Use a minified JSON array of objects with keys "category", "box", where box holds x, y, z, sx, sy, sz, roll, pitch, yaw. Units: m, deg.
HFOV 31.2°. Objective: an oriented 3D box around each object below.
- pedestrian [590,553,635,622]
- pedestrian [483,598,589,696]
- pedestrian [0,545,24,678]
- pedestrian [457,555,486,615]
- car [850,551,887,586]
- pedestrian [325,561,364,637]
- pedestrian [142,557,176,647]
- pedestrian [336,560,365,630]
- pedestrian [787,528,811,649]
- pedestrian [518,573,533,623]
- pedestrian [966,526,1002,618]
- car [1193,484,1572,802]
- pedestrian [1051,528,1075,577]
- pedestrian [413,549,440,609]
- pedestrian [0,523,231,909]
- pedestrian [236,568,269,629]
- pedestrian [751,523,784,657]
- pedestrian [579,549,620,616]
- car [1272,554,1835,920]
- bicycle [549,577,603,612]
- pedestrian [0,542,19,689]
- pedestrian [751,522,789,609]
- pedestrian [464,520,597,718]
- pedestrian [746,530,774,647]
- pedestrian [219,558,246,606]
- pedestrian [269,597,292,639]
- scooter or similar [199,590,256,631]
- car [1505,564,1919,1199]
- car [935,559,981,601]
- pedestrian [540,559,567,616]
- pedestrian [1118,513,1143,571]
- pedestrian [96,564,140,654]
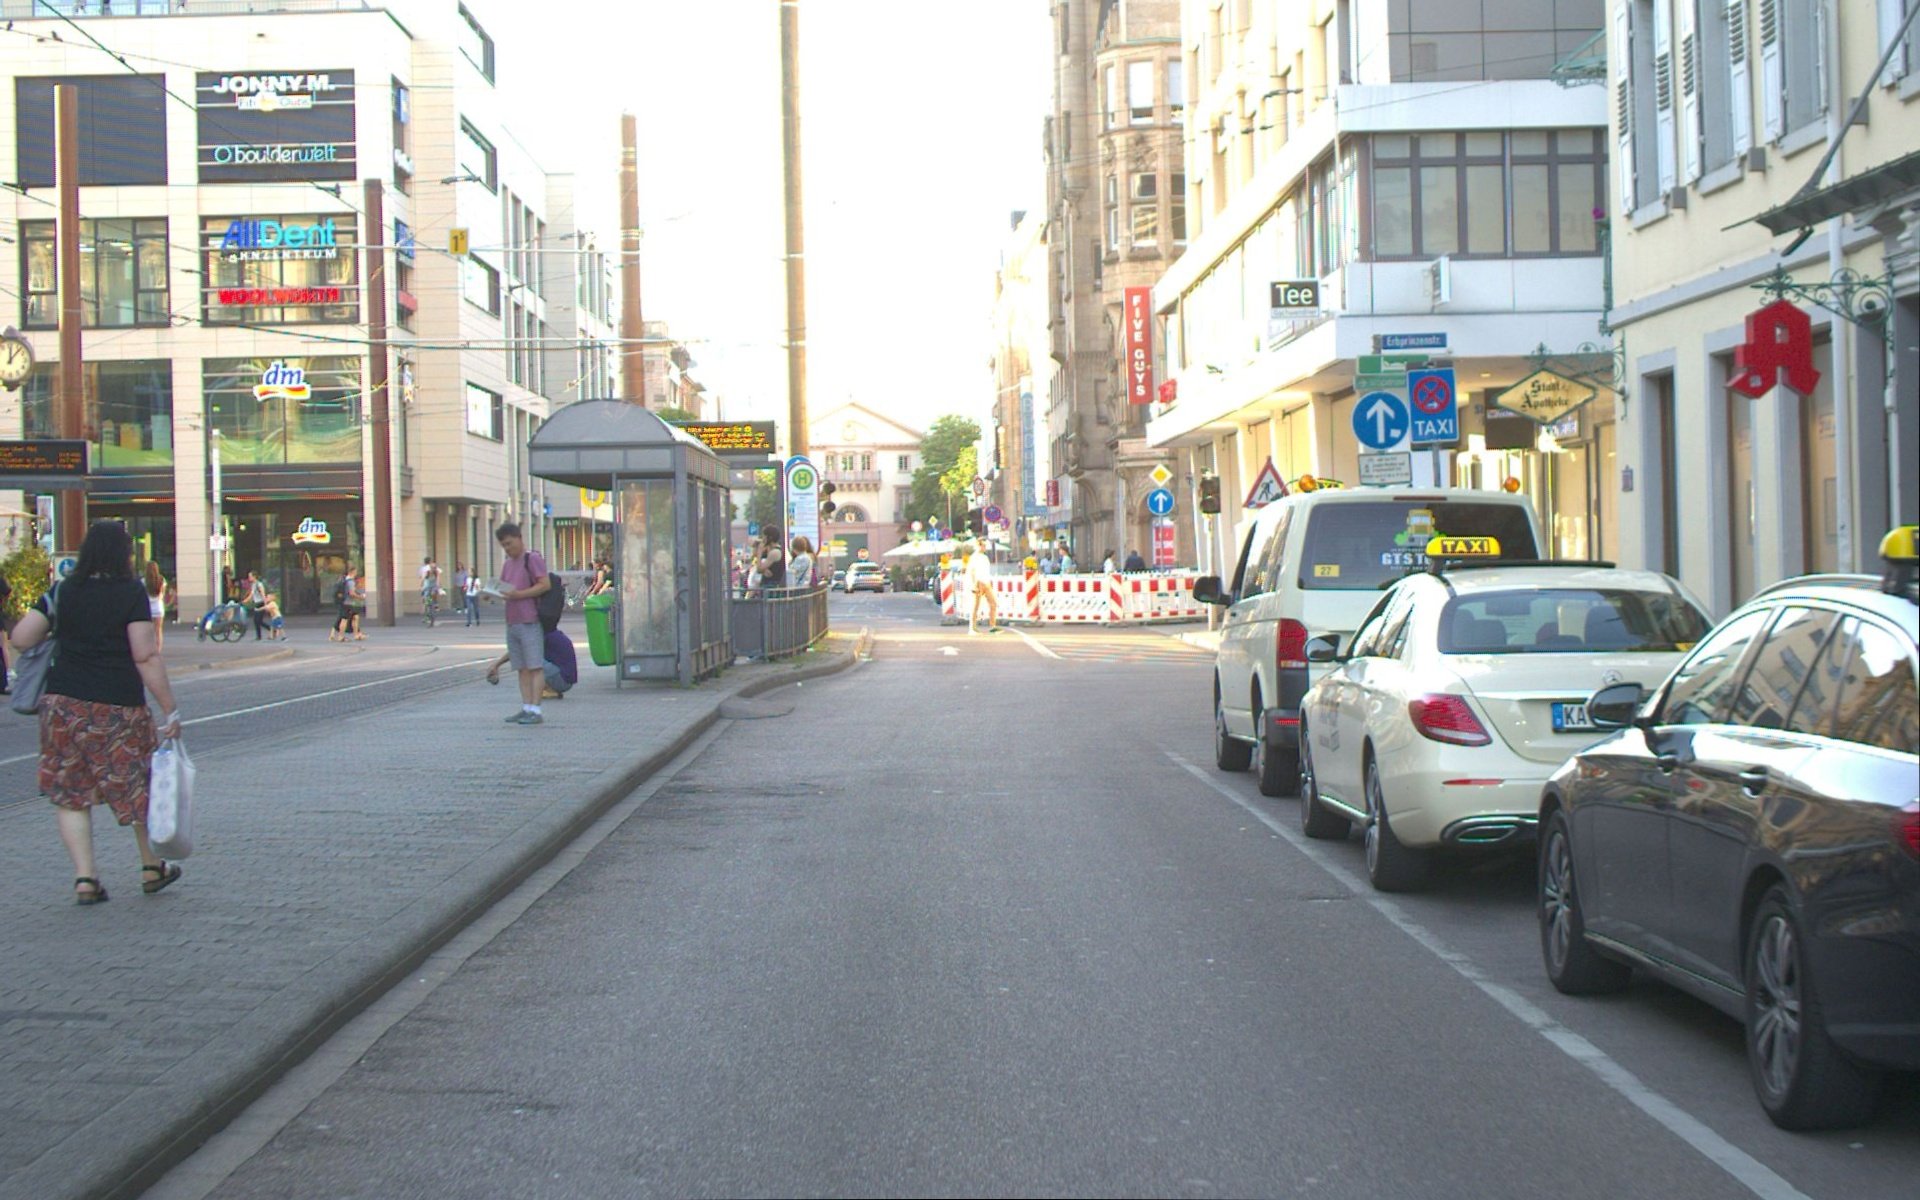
[{"category":"pedestrian","box":[-8.279,-0.302,81.882,0.821,1.608,0.693,-1,1,-32]},{"category":"pedestrian","box":[-4.180,0.459,33.895,0.799,0.936,0.692,0,1,22]},{"category":"pedestrian","box":[-12.833,0.148,45.880,0.559,1.770,0.469,0,1,-5]},{"category":"pedestrian","box":[-13.688,-0.413,96.339,0.649,1.668,0.530,-1,1,7]},{"category":"car","box":[-4.982,-1.708,186.648,1.993,1.897,4.000,0,0,-2]},{"category":"pedestrian","box":[-13.964,-0.021,78.021,0.743,1.694,0.610,-1,0,-1]},{"category":"pedestrian","box":[-13.537,0.033,58.113,0.525,1.520,0.503,-1,1,-15]},{"category":"pedestrian","box":[-13.948,-0.119,78.660,0.569,1.587,0.448,-1,0,-4]},{"category":"pedestrian","box":[-2.405,-0.170,51.246,0.341,1.789,0.544,0,0,-3]},{"category":"pedestrian","box":[-13.277,-0.067,105.022,0.390,1.510,0.506,-1,0,-2]},{"category":"pedestrian","box":[0.470,-0.562,68.149,0.699,1.809,0.852,0,0,0]},{"category":"car","box":[2.760,0.255,23.521,1.876,1.917,4.700,1,0,-1]},{"category":"pedestrian","box":[3.381,-1.550,113.343,0.711,1.605,0.822,0,0,-3]},{"category":"pedestrian","box":[-16.521,-0.644,106.469,0.573,1.848,0.816,0,0,11]},{"category":"pedestrian","box":[-3.461,0.447,13.857,0.846,1.496,0.901,-1,1,-1]},{"category":"pedestrian","box":[-16.395,-0.034,79.675,0.639,1.415,0.418,-1,1,1]},{"category":"pedestrian","box":[-2.541,-0.132,45.412,0.412,1.761,0.594,0,0,-3]},{"category":"pedestrian","box":[-8.669,-0.422,82.605,0.769,1.608,0.667,-1,1,-26]},{"category":"car","box":[2.721,0.547,16.886,1.806,1.478,4.778,1,1,-1]},{"category":"bicycle","box":[-12.442,-0.185,111.450,1.696,1.118,0.451,0,0,2]},{"category":"pedestrian","box":[-11.268,0.186,39.742,0.674,1.685,0.638,-1,0,-9]},{"category":"pedestrian","box":[-3.713,-0.670,67.143,0.699,1.687,0.541,0,0,-8]},{"category":"pedestrian","box":[-3.601,0.148,28.863,0.687,1.632,0.859,0,1,40]},{"category":"pedestrian","box":[-2.817,-0.159,48.421,0.385,1.636,0.549,0,0,-3]},{"category":"pedestrian","box":[-23.127,-0.581,109.266,0.573,1.521,0.790,0,0,11]},{"category":"pedestrian","box":[-15.720,0.405,79.547,0.421,0.962,0.418,-1,1,1]},{"category":"scooter or similar","box":[-16.860,0.236,79.151,1.093,0.901,0.890,-1,1,0]},{"category":"car","box":[2.937,0.648,10.325,1.726,1.472,4.821,0,0,-1]},{"category":"car","box":[-0.086,-0.799,139.112,1.679,1.608,4.028,-2,0,-2]},{"category":"pedestrian","box":[-12.520,-0.371,105.804,0.782,1.745,0.600,0,0,-4]},{"category":"pedestrian","box":[4.978,-1.684,100.132,0.625,1.684,0.671,-1,0,-3]},{"category":"pedestrian","box":[-14.437,0.153,58.969,0.519,1.520,0.500,0,1,39]}]
